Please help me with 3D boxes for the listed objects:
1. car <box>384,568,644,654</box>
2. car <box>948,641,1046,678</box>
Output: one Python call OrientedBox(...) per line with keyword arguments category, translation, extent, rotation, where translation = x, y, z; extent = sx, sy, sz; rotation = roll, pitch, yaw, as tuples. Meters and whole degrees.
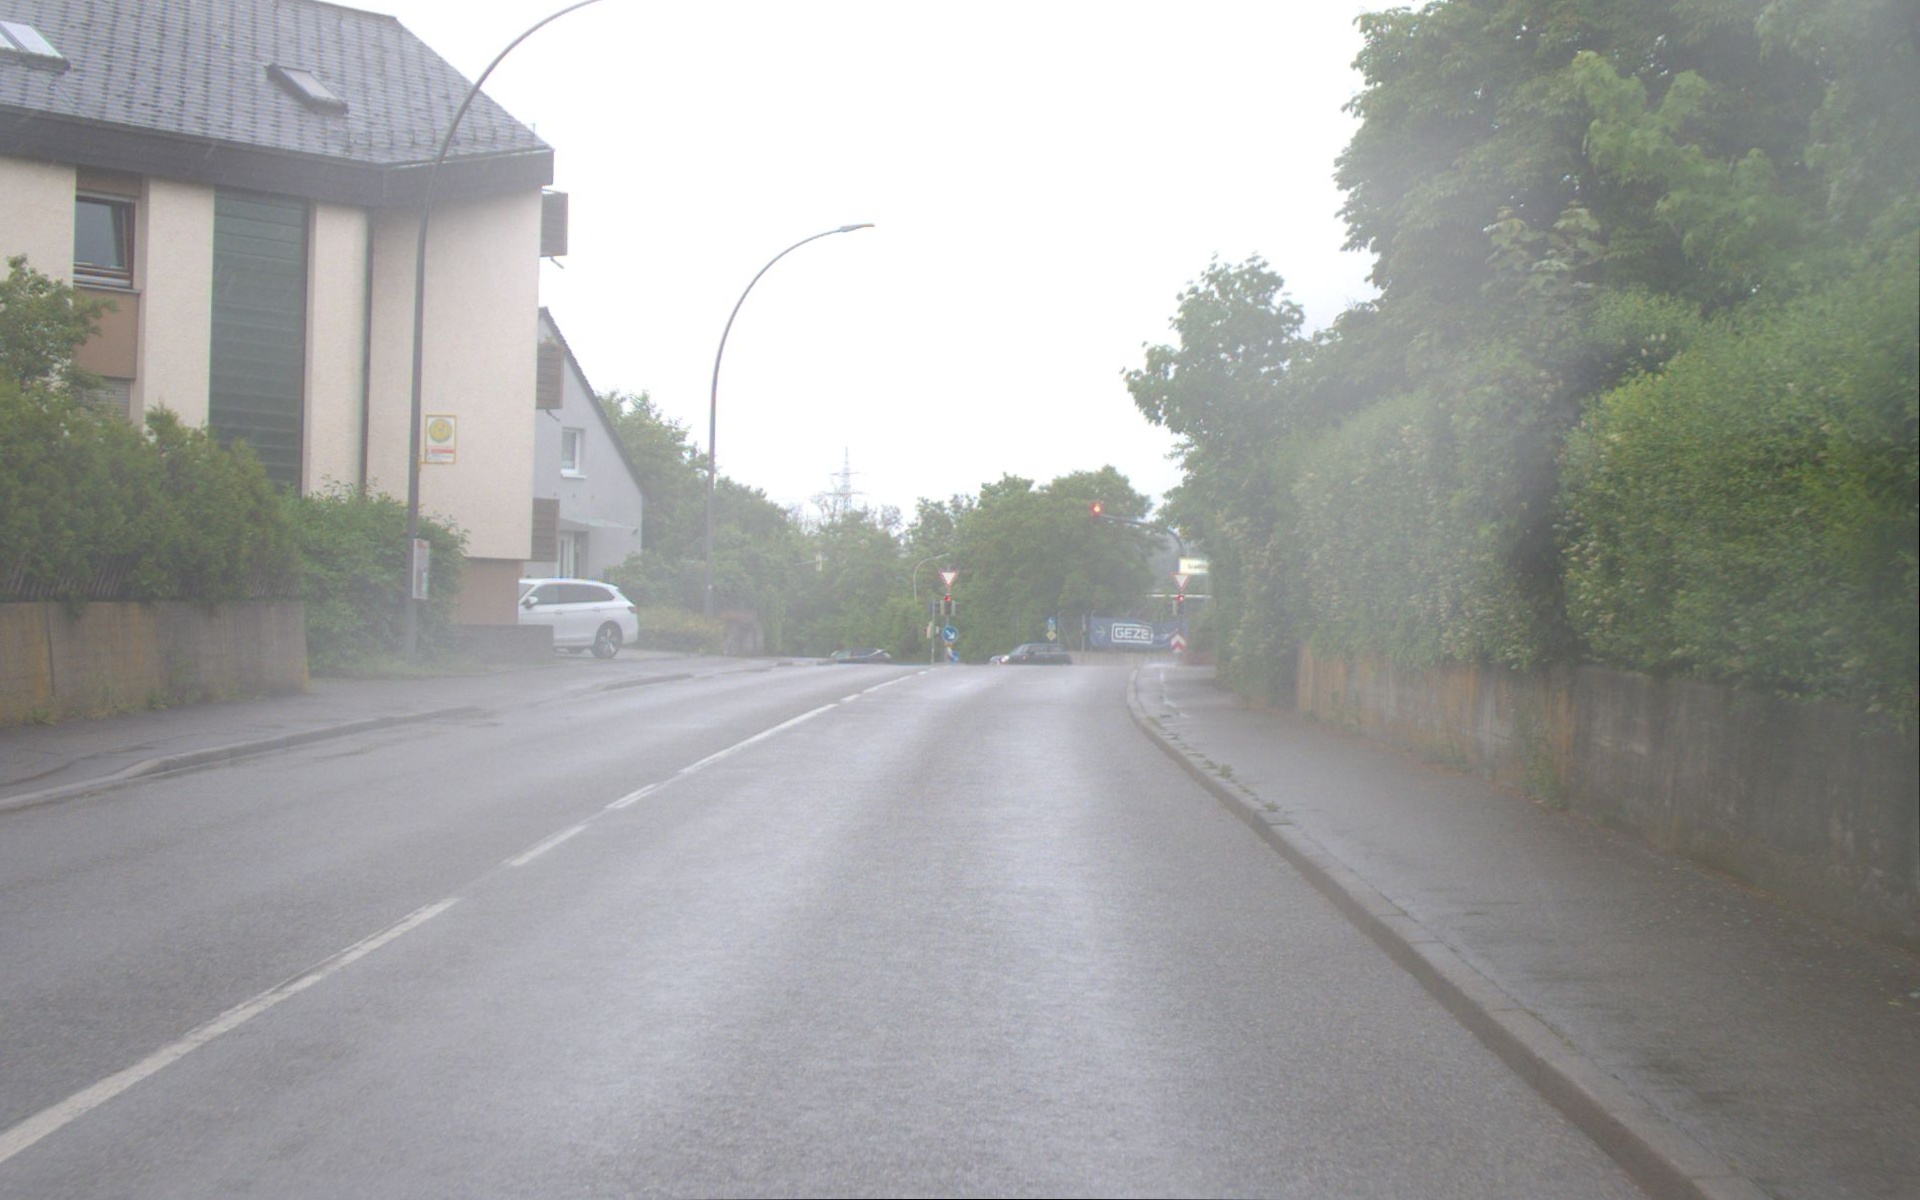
OrientedBox(category="car", translation=(-8.226, 0.220, 63.815), extent=(1.905, 1.472, 4.871), rotation=(3, 1, 36))
OrientedBox(category="car", translation=(1.642, 2.652, 153.784), extent=(3.985, 1.518, 1.811), rotation=(2, 0, -16))
